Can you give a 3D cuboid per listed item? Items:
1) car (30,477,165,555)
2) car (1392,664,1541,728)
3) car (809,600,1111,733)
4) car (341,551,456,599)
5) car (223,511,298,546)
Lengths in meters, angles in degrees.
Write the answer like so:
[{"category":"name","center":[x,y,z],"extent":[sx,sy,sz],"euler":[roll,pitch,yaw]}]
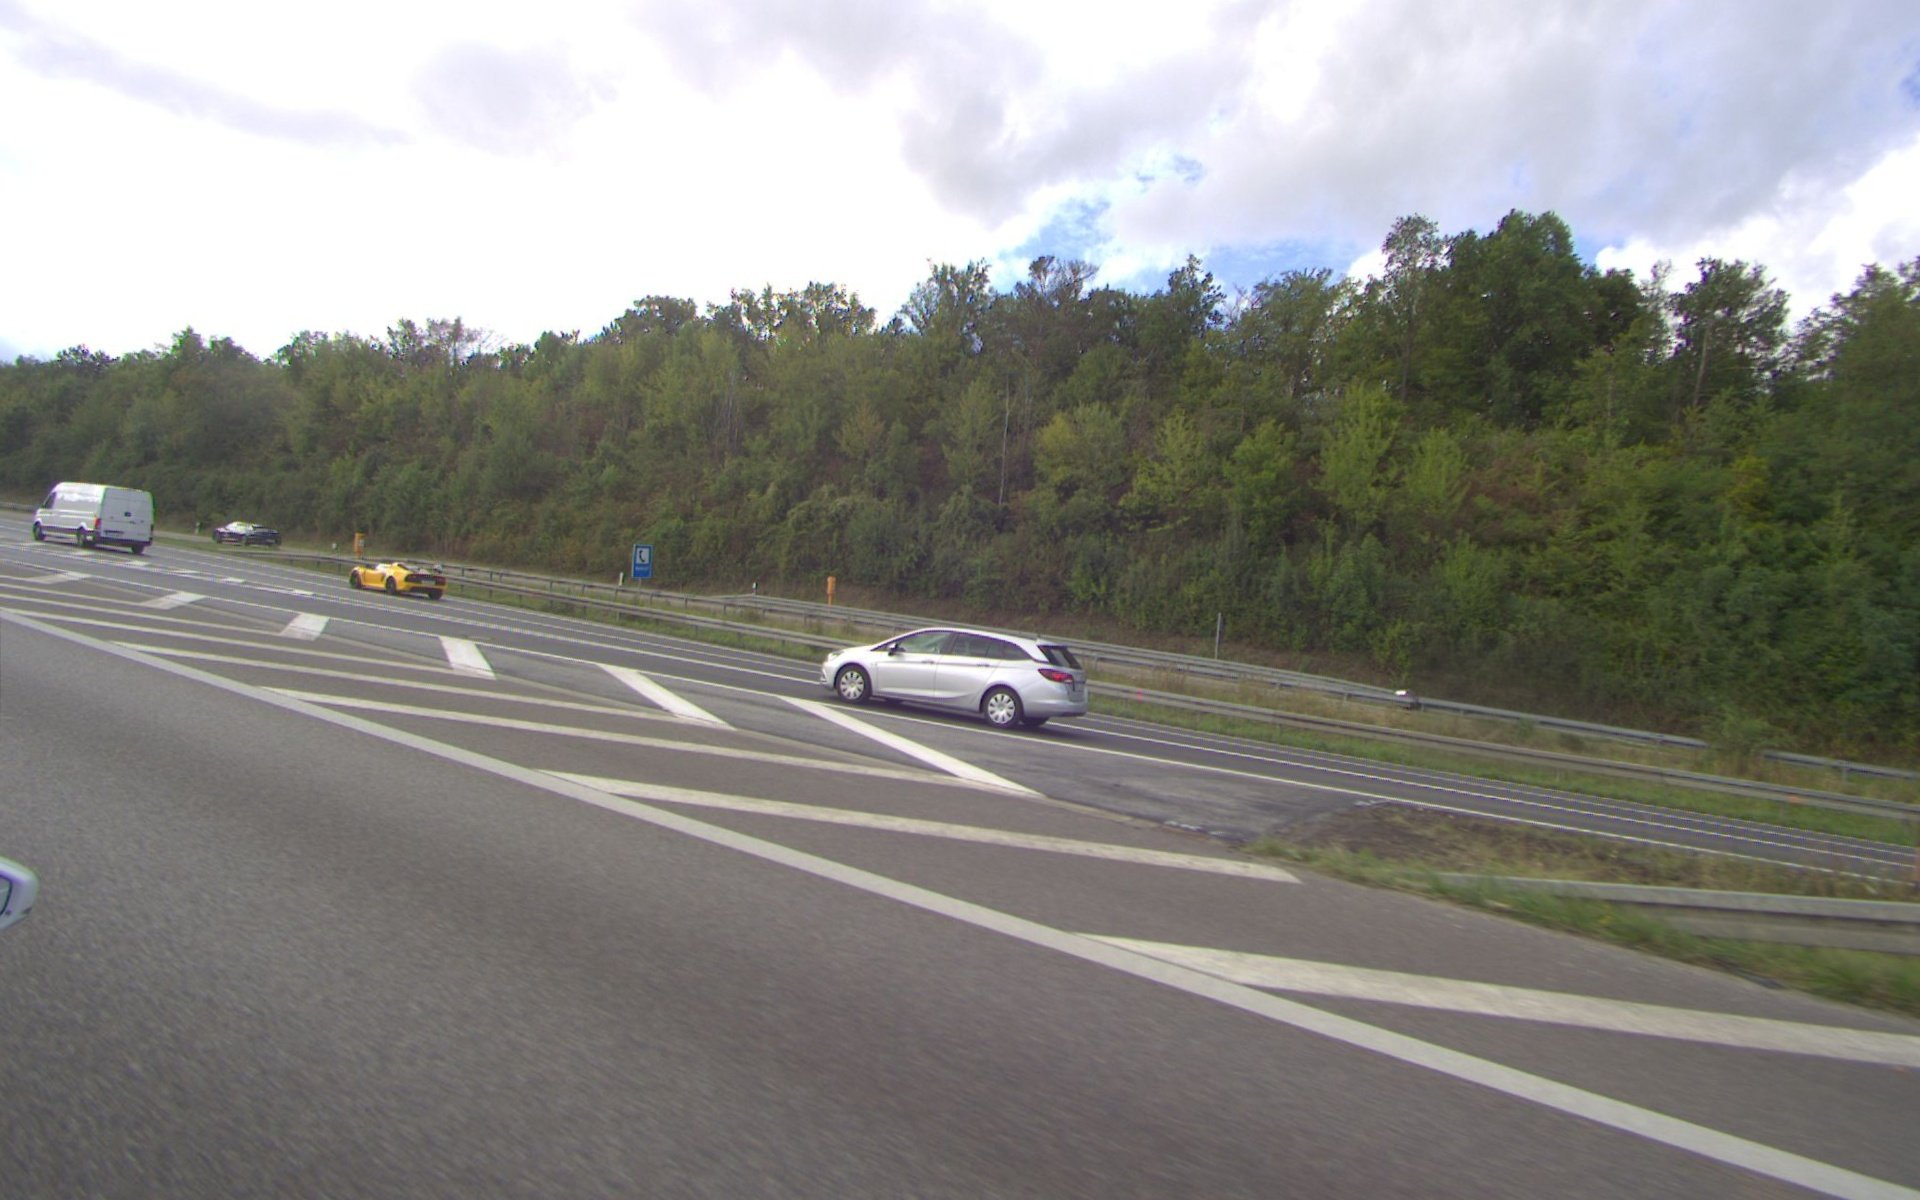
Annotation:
[{"category":"car","center":[-35.901,-3.508,41.796],"extent":[6.628,2.586,2.073],"euler":[7,1,30]},{"category":"car","center":[16.364,3.077,32.704],"extent":[4.095,1.433,1.716],"euler":[7,0,26]},{"category":"car","center":[-0.027,1.037,16.502],"extent":[4.532,1.503,1.688],"euler":[7,-1,24]},{"category":"car","center":[-20.147,-0.897,36.074],"extent":[4.099,1.196,1.715],"euler":[7,-1,31]},{"category":"car","center":[-42.114,-4.295,60.543],"extent":[4.684,1.623,1.844],"euler":[7,1,31]}]
